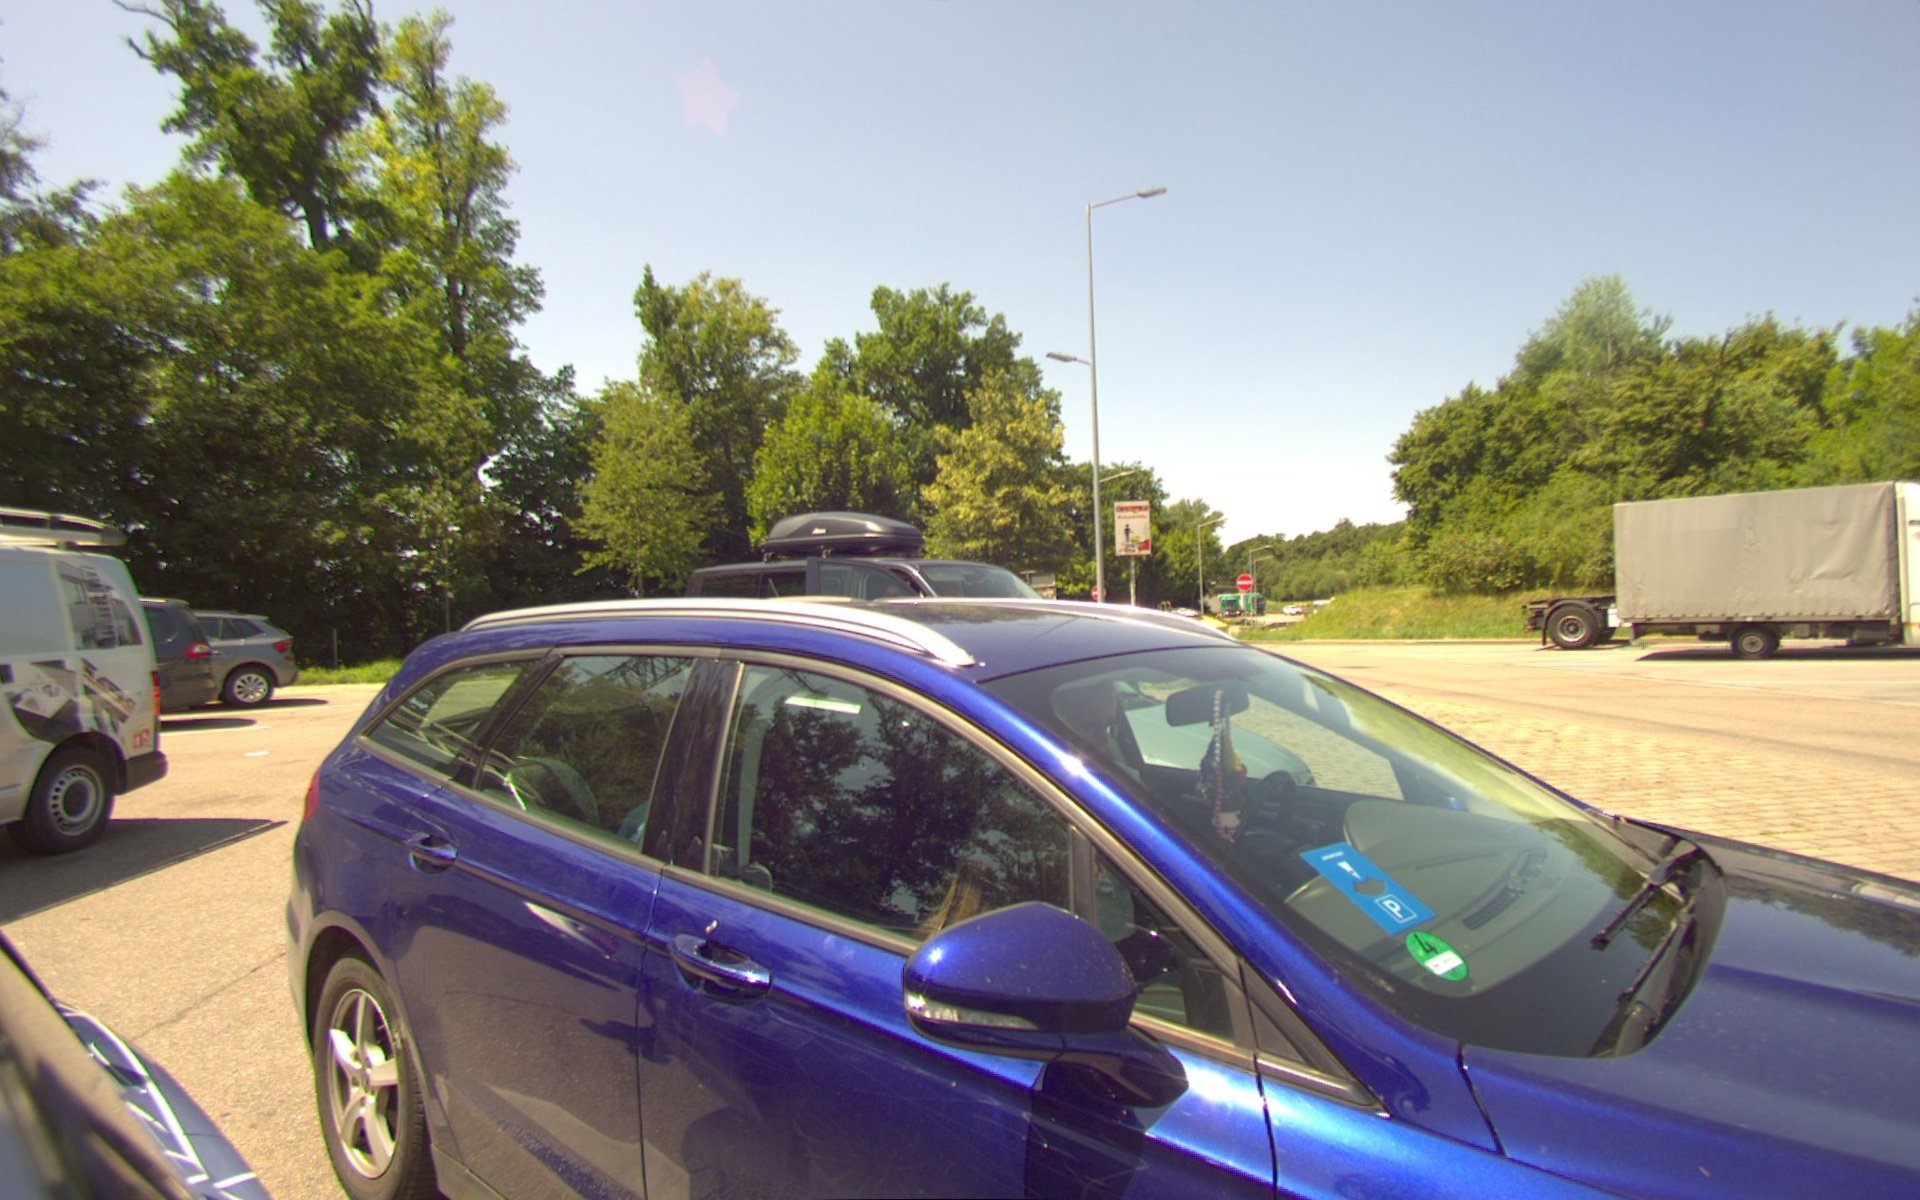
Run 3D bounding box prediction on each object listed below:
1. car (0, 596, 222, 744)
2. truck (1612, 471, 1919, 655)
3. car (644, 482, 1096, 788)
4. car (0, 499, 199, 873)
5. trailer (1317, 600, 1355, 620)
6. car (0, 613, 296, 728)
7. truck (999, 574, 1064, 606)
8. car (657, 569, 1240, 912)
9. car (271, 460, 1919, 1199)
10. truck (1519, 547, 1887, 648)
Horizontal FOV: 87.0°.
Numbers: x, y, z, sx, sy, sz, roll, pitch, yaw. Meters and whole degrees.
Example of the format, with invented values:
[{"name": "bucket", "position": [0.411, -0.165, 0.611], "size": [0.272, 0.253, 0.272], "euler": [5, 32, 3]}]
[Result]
[{"name": "car", "position": [-11.650, 0.835, 12.553], "size": [1.755, 1.701, 3.798], "euler": [-2, -1, 45]}, {"name": "truck", "position": [16.623, -0.623, 18.820], "size": [7.253, 3.175, 2.148], "euler": [-2, -1, 41]}, {"name": "car", "position": [-0.961, 0.327, 9.632], "size": [4.076, 2.336, 1.767], "euler": [-2, -1, 35]}, {"name": "car", "position": [-6.268, 0.473, 4.652], "size": [1.816, 2.121, 5.440], "euler": [0, -1, -5]}, {"name": "trailer", "position": [52.668, 1.396, 141.923], "size": [2.522, 2.744, 5.945], "euler": [-1, 0, -7]}, {"name": "car", "position": [-12.539, 1.000, 15.699], "size": [3.535, 1.513, 1.708], "euler": [-1, 0, -42]}, {"name": "truck", "position": [3.440, -0.463, 48.793], "size": [2.866, 1.386, 1.158], "euler": [-2, -1, 22]}, {"name": "car", "position": [-0.219, 0.598, 5.585], "size": [3.112, 1.370, 1.326], "euler": [-2, -1, 41]}, {"name": "car", "position": [0.260, 0.652, 2.076], "size": [4.411, 1.429, 1.721], "euler": [-2, -1, 41]}, {"name": "truck", "position": [16.931, 0.046, 23.480], "size": [6.613, 2.029, 1.973], "euler": [-2, -1, 41]}]
